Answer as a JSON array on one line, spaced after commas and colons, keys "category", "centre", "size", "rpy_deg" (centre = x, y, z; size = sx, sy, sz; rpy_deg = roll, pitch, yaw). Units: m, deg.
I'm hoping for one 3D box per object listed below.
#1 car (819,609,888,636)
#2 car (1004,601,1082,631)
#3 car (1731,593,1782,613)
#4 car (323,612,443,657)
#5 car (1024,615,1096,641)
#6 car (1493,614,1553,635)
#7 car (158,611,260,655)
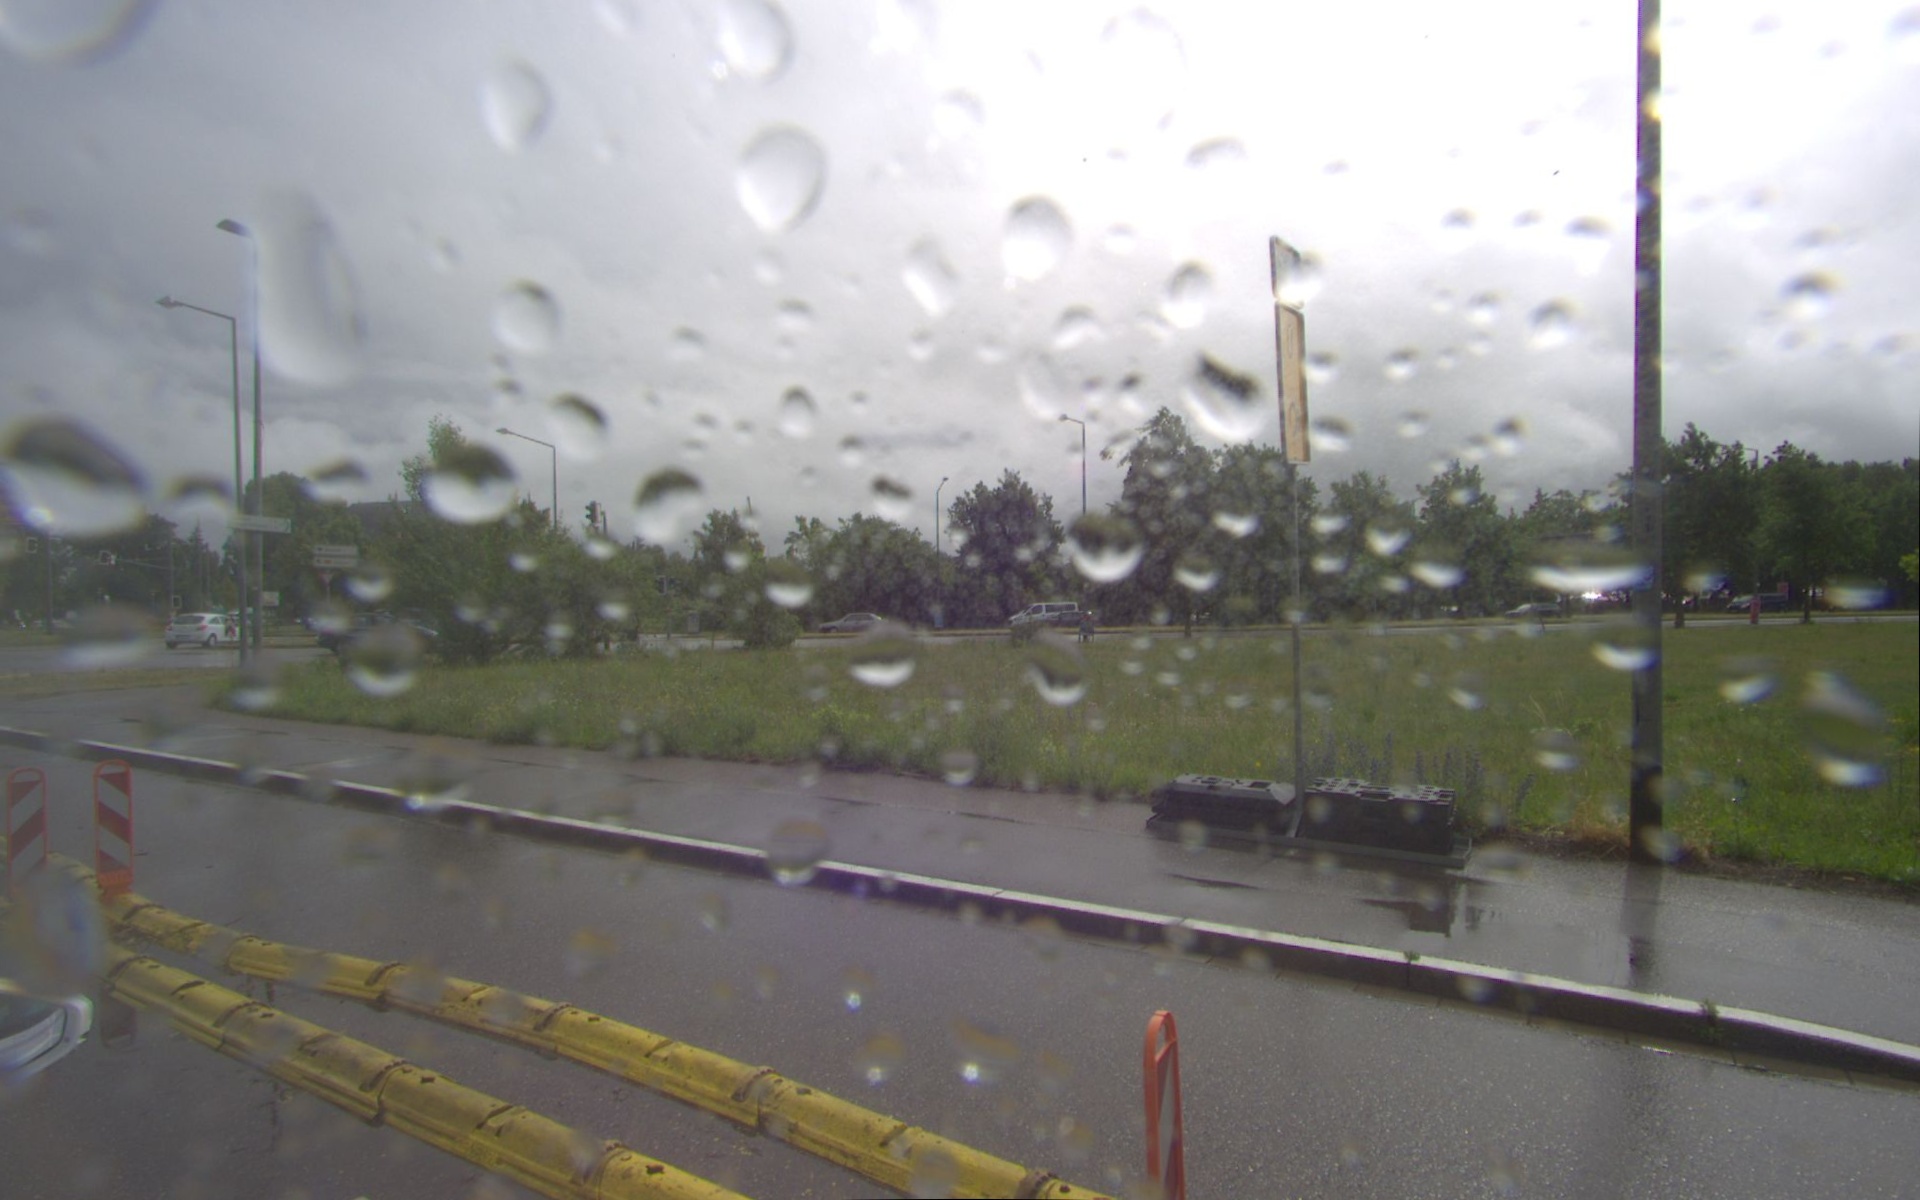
[{"category": "car", "centre": [-6.531, 1.359, 61.187], "size": [4.038, 1.581, 1.912], "rpy_deg": [0, 0, -12]}, {"category": "car", "centre": [5.591, 1.041, 67.540], "size": [4.873, 1.944, 1.996], "rpy_deg": [0, 0, -16]}, {"category": "car", "centre": [66.829, 0.257, 84.024], "size": [3.459, 1.579, 1.541], "rpy_deg": [0, 0, -14]}, {"category": "car", "centre": [-22.497, 1.322, 39.089], "size": [3.907, 1.666, 1.658], "rpy_deg": [0, -1, -38]}, {"category": "car", "centre": [6.434, 1.780, 64.506], "size": [4.227, 1.581, 1.911], "rpy_deg": [0, 0, -14]}, {"category": "car", "centre": [44.115, 1.934, 78.450], "size": [4.158, 1.579, 1.541], "rpy_deg": [0, 0, -14]}, {"category": "car", "centre": [-33.235, 1.411, 44.467], "size": [1.962, 1.854, 3.998], "rpy_deg": [-1, 0, -9]}]
